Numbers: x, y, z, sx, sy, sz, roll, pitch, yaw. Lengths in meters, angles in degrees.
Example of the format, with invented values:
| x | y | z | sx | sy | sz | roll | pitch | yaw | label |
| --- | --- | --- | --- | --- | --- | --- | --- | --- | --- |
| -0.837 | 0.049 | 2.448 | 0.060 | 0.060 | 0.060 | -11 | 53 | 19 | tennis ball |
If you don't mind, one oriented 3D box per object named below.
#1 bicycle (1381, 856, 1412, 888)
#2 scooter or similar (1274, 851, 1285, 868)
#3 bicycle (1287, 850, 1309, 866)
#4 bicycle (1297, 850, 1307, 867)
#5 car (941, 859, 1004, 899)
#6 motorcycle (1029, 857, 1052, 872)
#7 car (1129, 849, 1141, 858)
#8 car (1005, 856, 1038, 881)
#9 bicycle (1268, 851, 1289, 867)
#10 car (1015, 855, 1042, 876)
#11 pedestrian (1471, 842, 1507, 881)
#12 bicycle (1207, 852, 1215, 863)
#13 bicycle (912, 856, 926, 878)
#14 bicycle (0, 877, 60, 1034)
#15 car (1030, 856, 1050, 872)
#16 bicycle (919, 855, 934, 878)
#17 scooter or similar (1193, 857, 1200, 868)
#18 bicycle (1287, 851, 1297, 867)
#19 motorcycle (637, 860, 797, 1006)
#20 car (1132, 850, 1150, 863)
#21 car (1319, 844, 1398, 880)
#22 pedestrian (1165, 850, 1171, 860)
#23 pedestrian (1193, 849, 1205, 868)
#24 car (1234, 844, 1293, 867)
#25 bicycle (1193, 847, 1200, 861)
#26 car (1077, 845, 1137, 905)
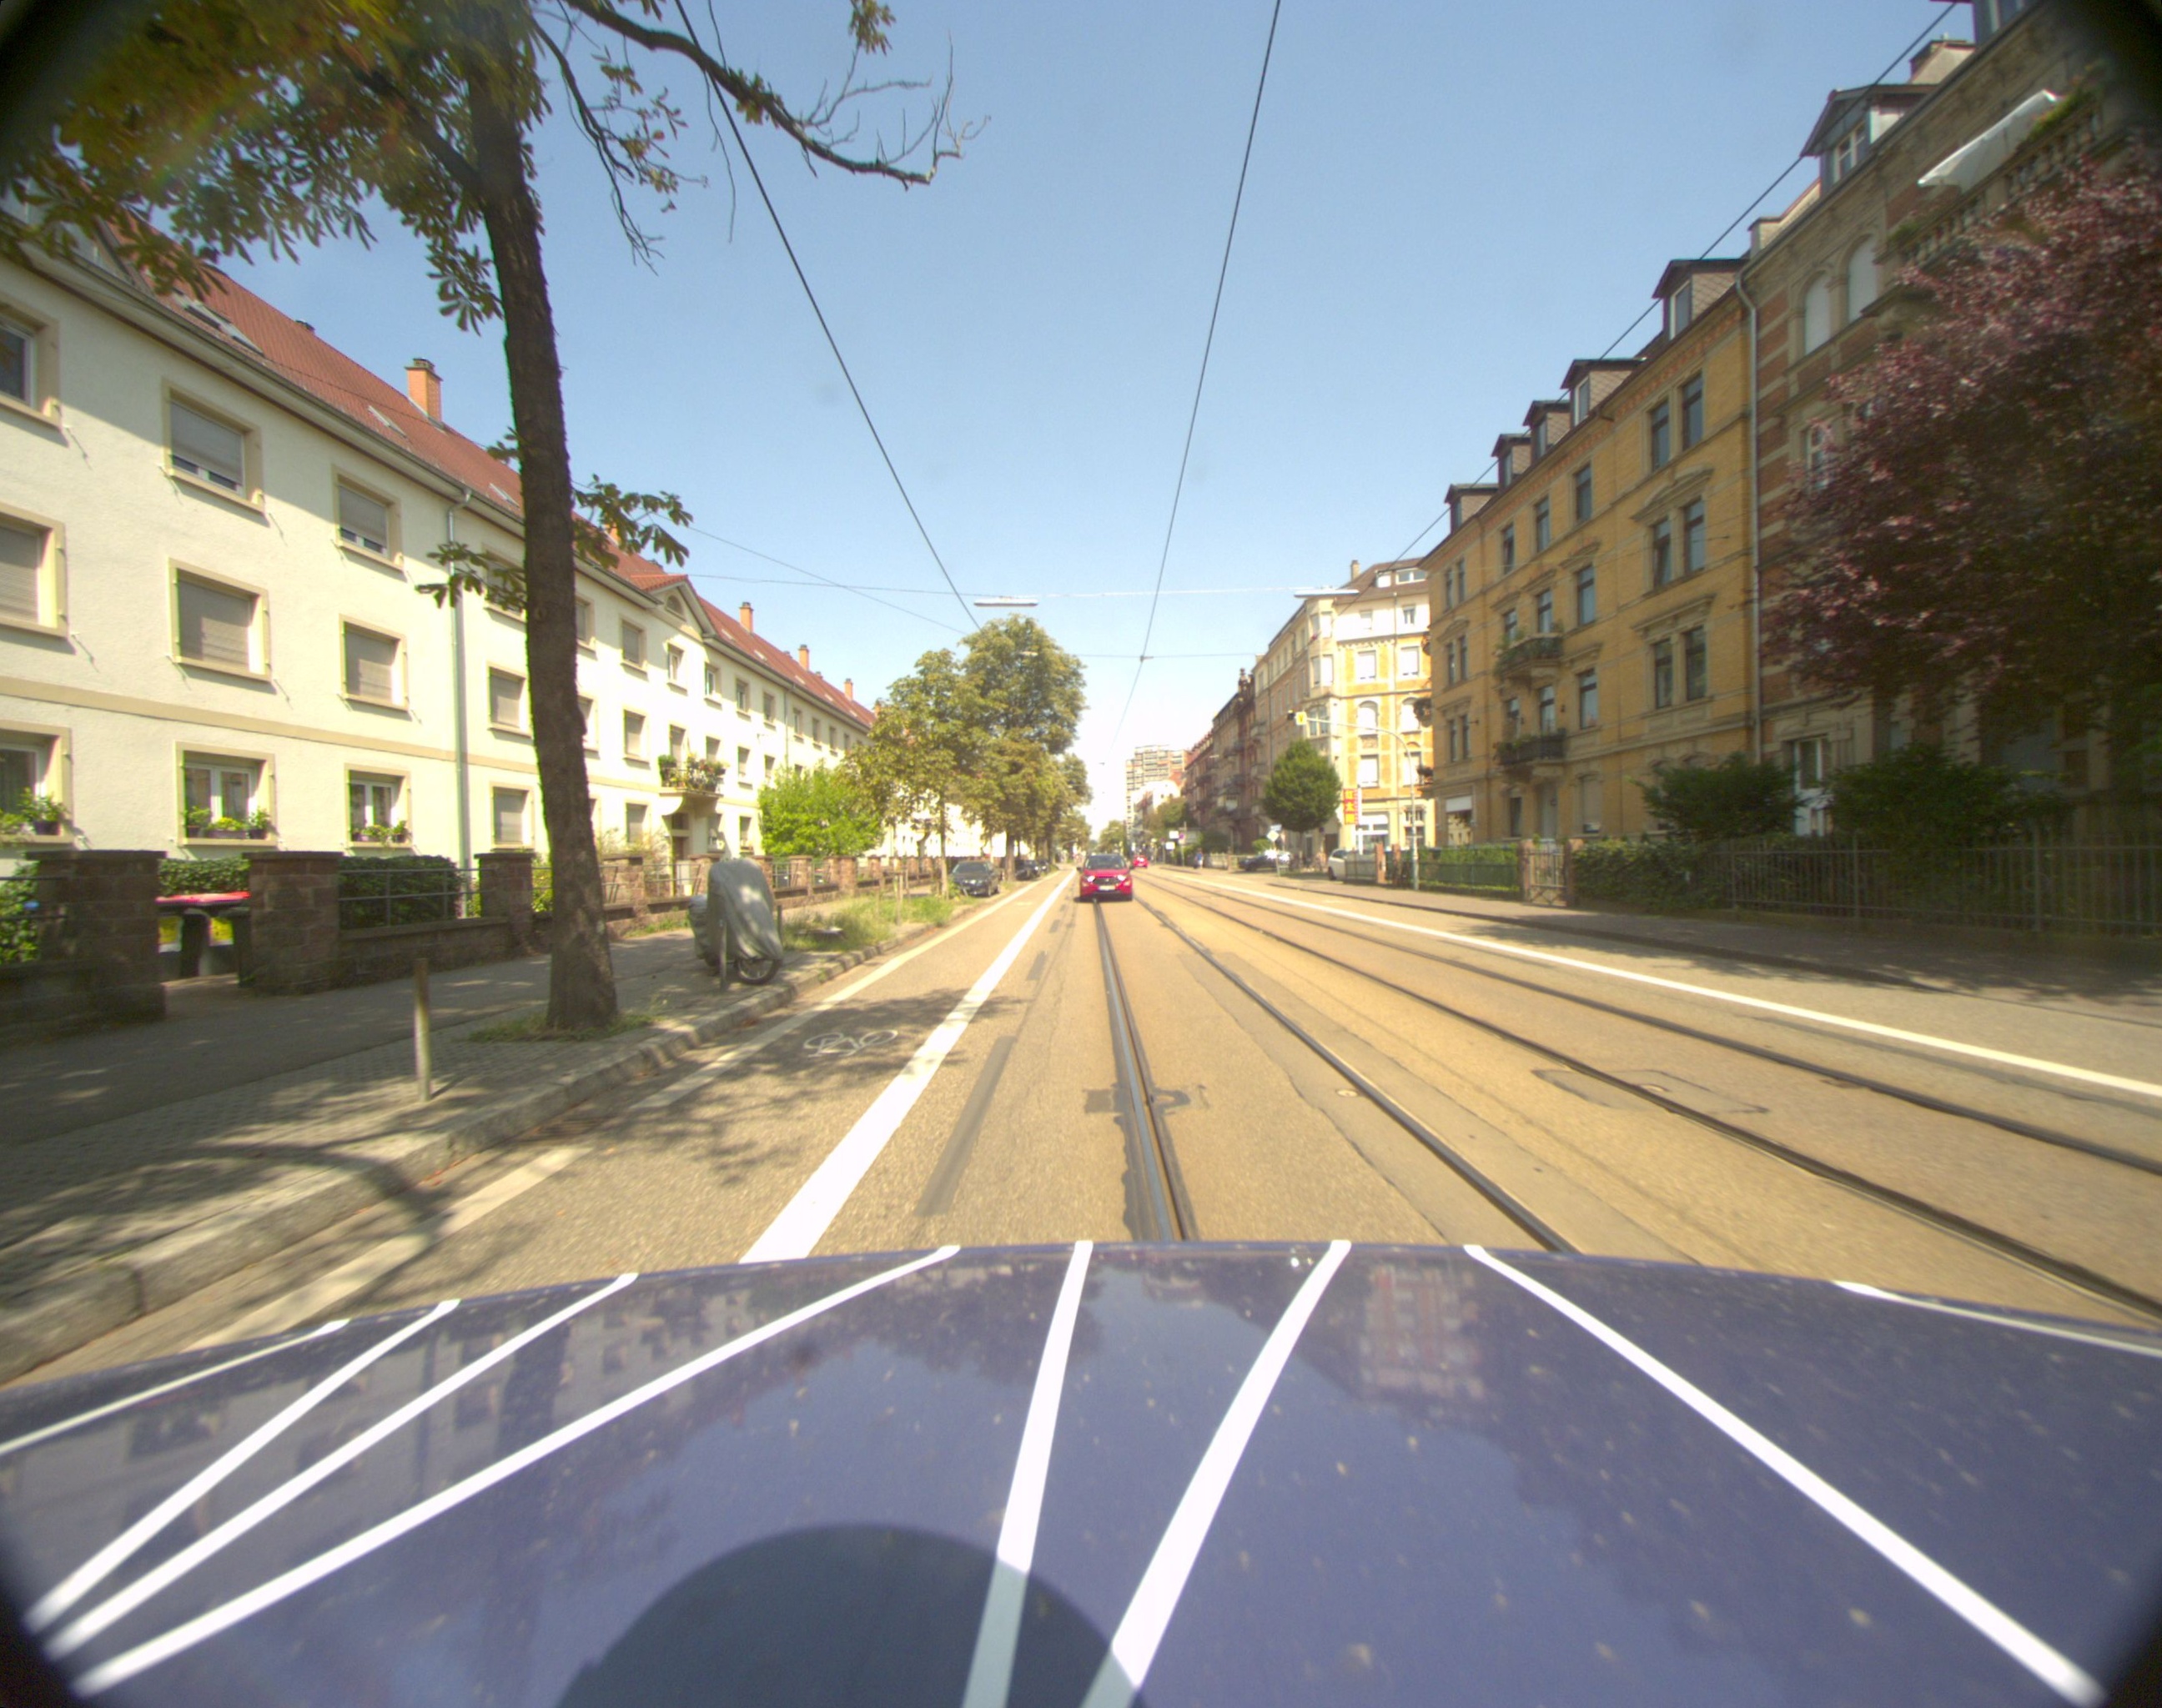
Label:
| x | y | z | sx | sy | sz | roll | pitch | yaw | label |
| --- | --- | --- | --- | --- | --- | --- | --- | --- | --- |
| 11.212 | 0.633 | 27.029 | 0.391 | 1.092 | 1.568 | -2 | 0 | -2 | bicycle |
| 13.731 | 0.382 | 52.545 | 0.597 | 1.092 | 1.390 | -2 | 0 | 11 | scooter or similar |
| 15.503 | 0.303 | 54.266 | 1.449 | 1.092 | 0.391 | -2 | 0 | 12 | bicycle |
| 15.189 | 0.289 | 52.108 | 0.389 | 1.092 | 1.454 | -2 | 0 | 26 | bicycle |
| -4.459 | 0.999 | 31.879 | 1.897 | 1.468 | 4.840 | -1 | 0 | 0 | car |
| -3.614 | 0.930 | 68.134 | 2.009 | 1.360 | 0.782 | -1 | 1 | -2 | motorcycle |
| 9.163 | -0.140 | 129.454 | 1.832 | 1.531 | 4.000 | -1 | 0 | 0 | car |
| -3.889 | 0.923 | 50.251 | 1.760 | 1.468 | 4.386 | -1 | 0 | 0 | car |
| 14.027 | 0.344 | 53.881 | 1.453 | 1.092 | 0.390 | -2 | 0 | -22 | bicycle |
| -4.218 | 0.914 | 61.169 | 1.760 | 1.469 | 4.457 | 2 | 1 | 1 | car |
| 16.141 | 0.292 | 30.064 | 0.870 | 1.502 | 0.885 | -1 | 1 | -8 | pedestrian |
| 11.841 | 0.323 | 69.138 | 0.391 | 1.032 | 1.833 | -2 | 0 | 1 | bicycle |
| -9.574 | 0.745 | 44.904 | 0.403 | 1.250 | 1.580 | -1 | 1 | 1 | bicycle |
| -9.712 | 0.904 | 5.764 | 0.595 | 1.350 | 2.369 | -2 | 1 | 3 | bicycle |
| -3.846 | 0.950 | 72.305 | 1.621 | 1.468 | 4.039 | 0 | 0 | 1 | car |
| -9.117 | 0.708 | 44.940 | 0.457 | 1.325 | 1.892 | -1 | 1 | 1 | bicycle |
| 10.767 | 0.776 | 70.795 | 0.401 | 0.977 | 0.584 | -3 | 1 | -7 | scooter or similar |
| 14.583 | 0.333 | 52.489 | 0.389 | 1.092 | 1.454 | -2 | 0 | 26 | bicycle |
| -4.637 | 0.896 | 9.596 | 2.339 | 1.531 | 0.971 | 2 | 3 | 42 | motorcycle |
| 7.019 | 0.291 | 89.084 | 1.736 | 1.481 | 4.000 | -1 | 0 | 0 | car |
| 13.209 | 0.364 | 36.518 | 1.999 | 1.585 | 4.358 | -1 | 0 | -3 | car |
| 18.281 | 0.268 | 159.195 | 1.094 | 2.002 | 1.036 | -3 | 1 | 0 | pedestrian |
| 10.921 | 0.383 | 70.323 | 0.885 | 1.746 | 0.870 | -1 | 1 | 1 | pedestrian |
| 14.021 | 0.133 | 58.487 | 4.111 | 1.585 | 1.879 | -2 | 1 | 2 | car |
| 11.991 | -0.013 | 78.907 | 0.391 | 1.397 | 1.582 | -2 | 0 | 1 | bicycle |
| 0.883 | 0.687 | 25.509 | 1.802 | 1.801 | 4.417 | -1 | -1 | 2 | car |
